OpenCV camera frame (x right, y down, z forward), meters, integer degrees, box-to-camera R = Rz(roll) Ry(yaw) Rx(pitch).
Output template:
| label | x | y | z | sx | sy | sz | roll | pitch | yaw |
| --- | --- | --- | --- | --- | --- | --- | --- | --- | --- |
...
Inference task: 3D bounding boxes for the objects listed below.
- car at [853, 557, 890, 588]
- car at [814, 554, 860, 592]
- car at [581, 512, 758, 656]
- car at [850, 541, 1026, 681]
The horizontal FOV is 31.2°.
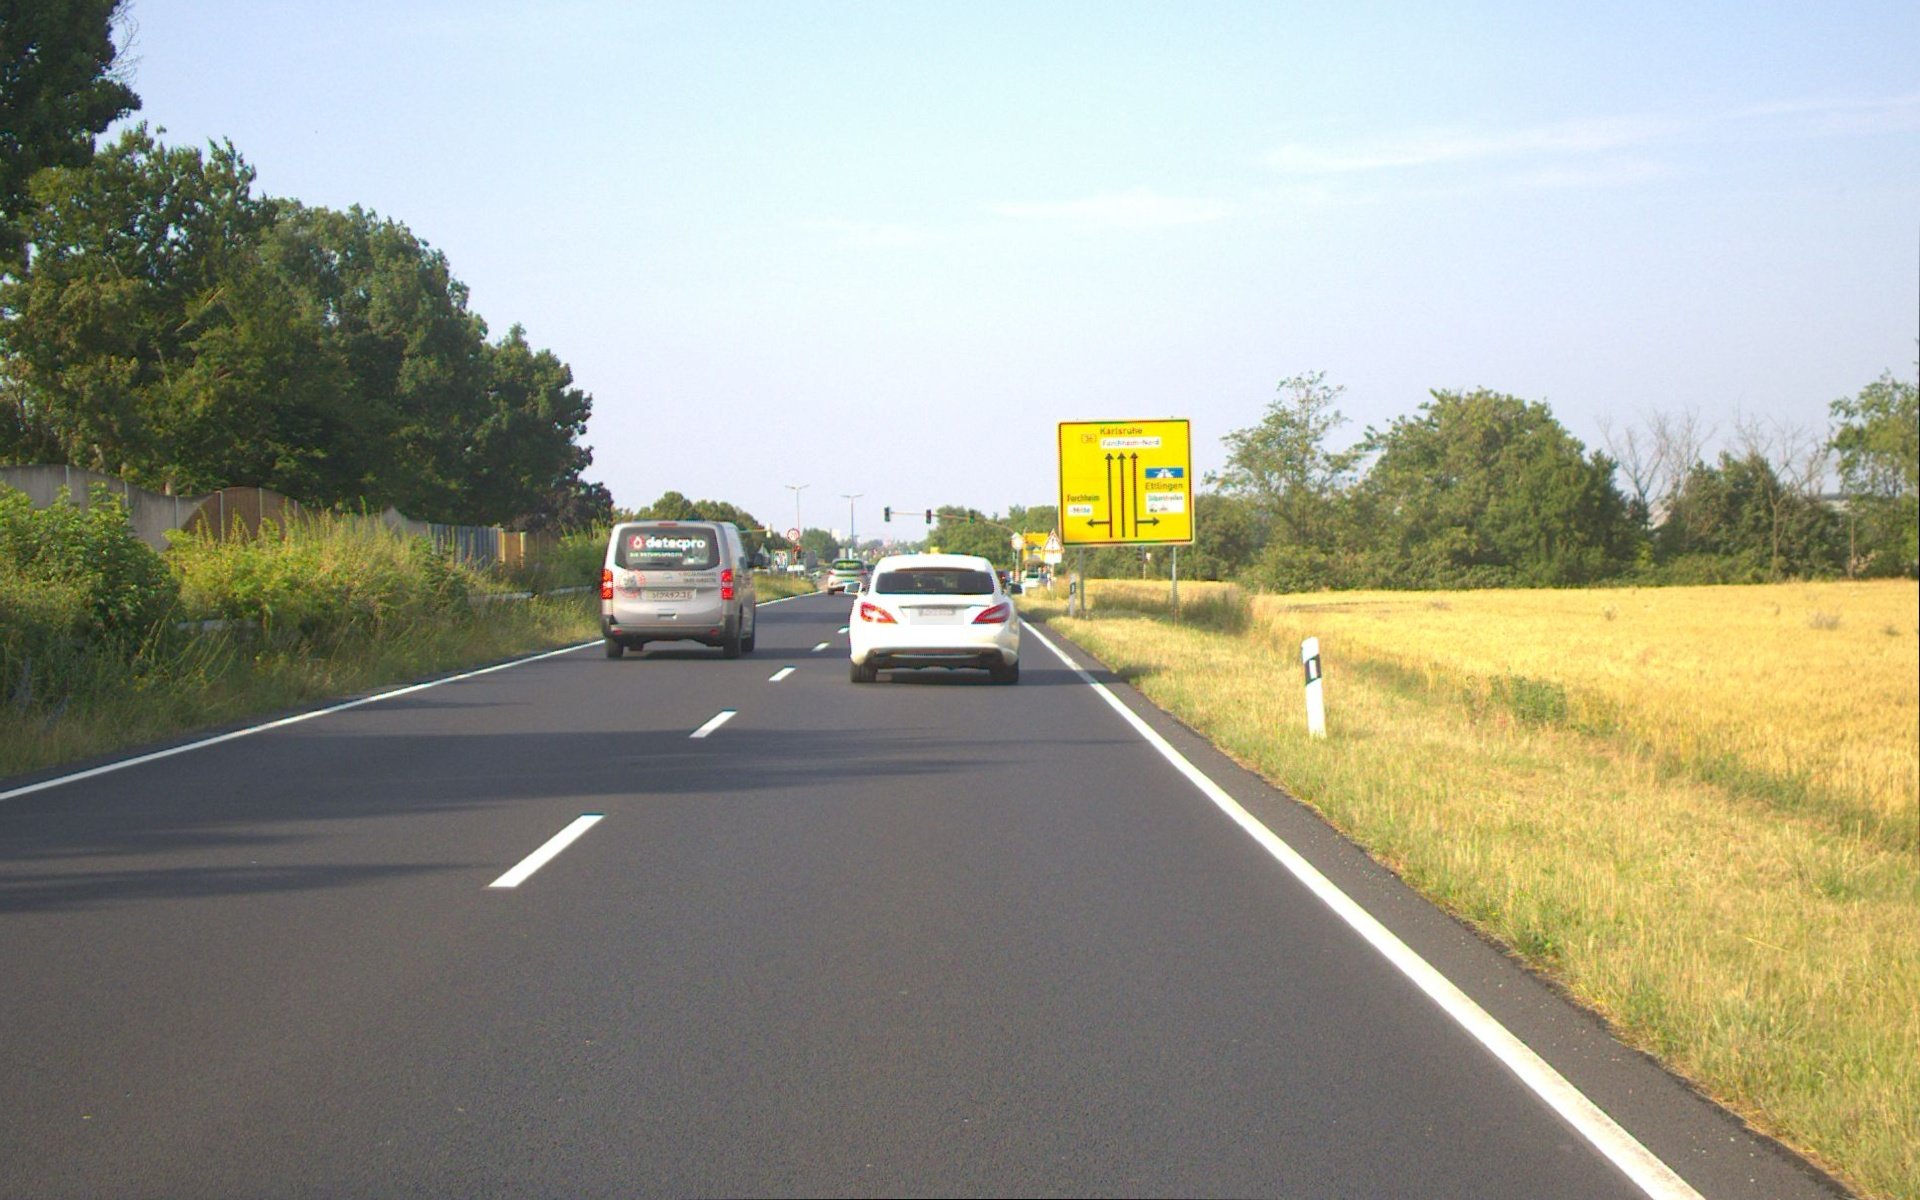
| label | x | y | z | sx | sy | sz | roll | pitch | yaw |
| --- | --- | --- | --- | --- | --- | --- | --- | --- | --- |
| car | -4.335 | -1.352 | 169.173 | 1.717 | 1.487 | 3.584 | 1 | 0 | 0 |
| car | -4.977 | -1.109 | 139.743 | 1.717 | 1.487 | 3.584 | 1 | 0 | 0 |
| car | -4.015 | -0.259 | 48.269 | 2.025 | 1.885 | 4.958 | 1 | 1 | 0 |
| car | -0.263 | 0.098 | 38.918 | 1.894 | 1.503 | 4.000 | 0 | 0 | -1 |
